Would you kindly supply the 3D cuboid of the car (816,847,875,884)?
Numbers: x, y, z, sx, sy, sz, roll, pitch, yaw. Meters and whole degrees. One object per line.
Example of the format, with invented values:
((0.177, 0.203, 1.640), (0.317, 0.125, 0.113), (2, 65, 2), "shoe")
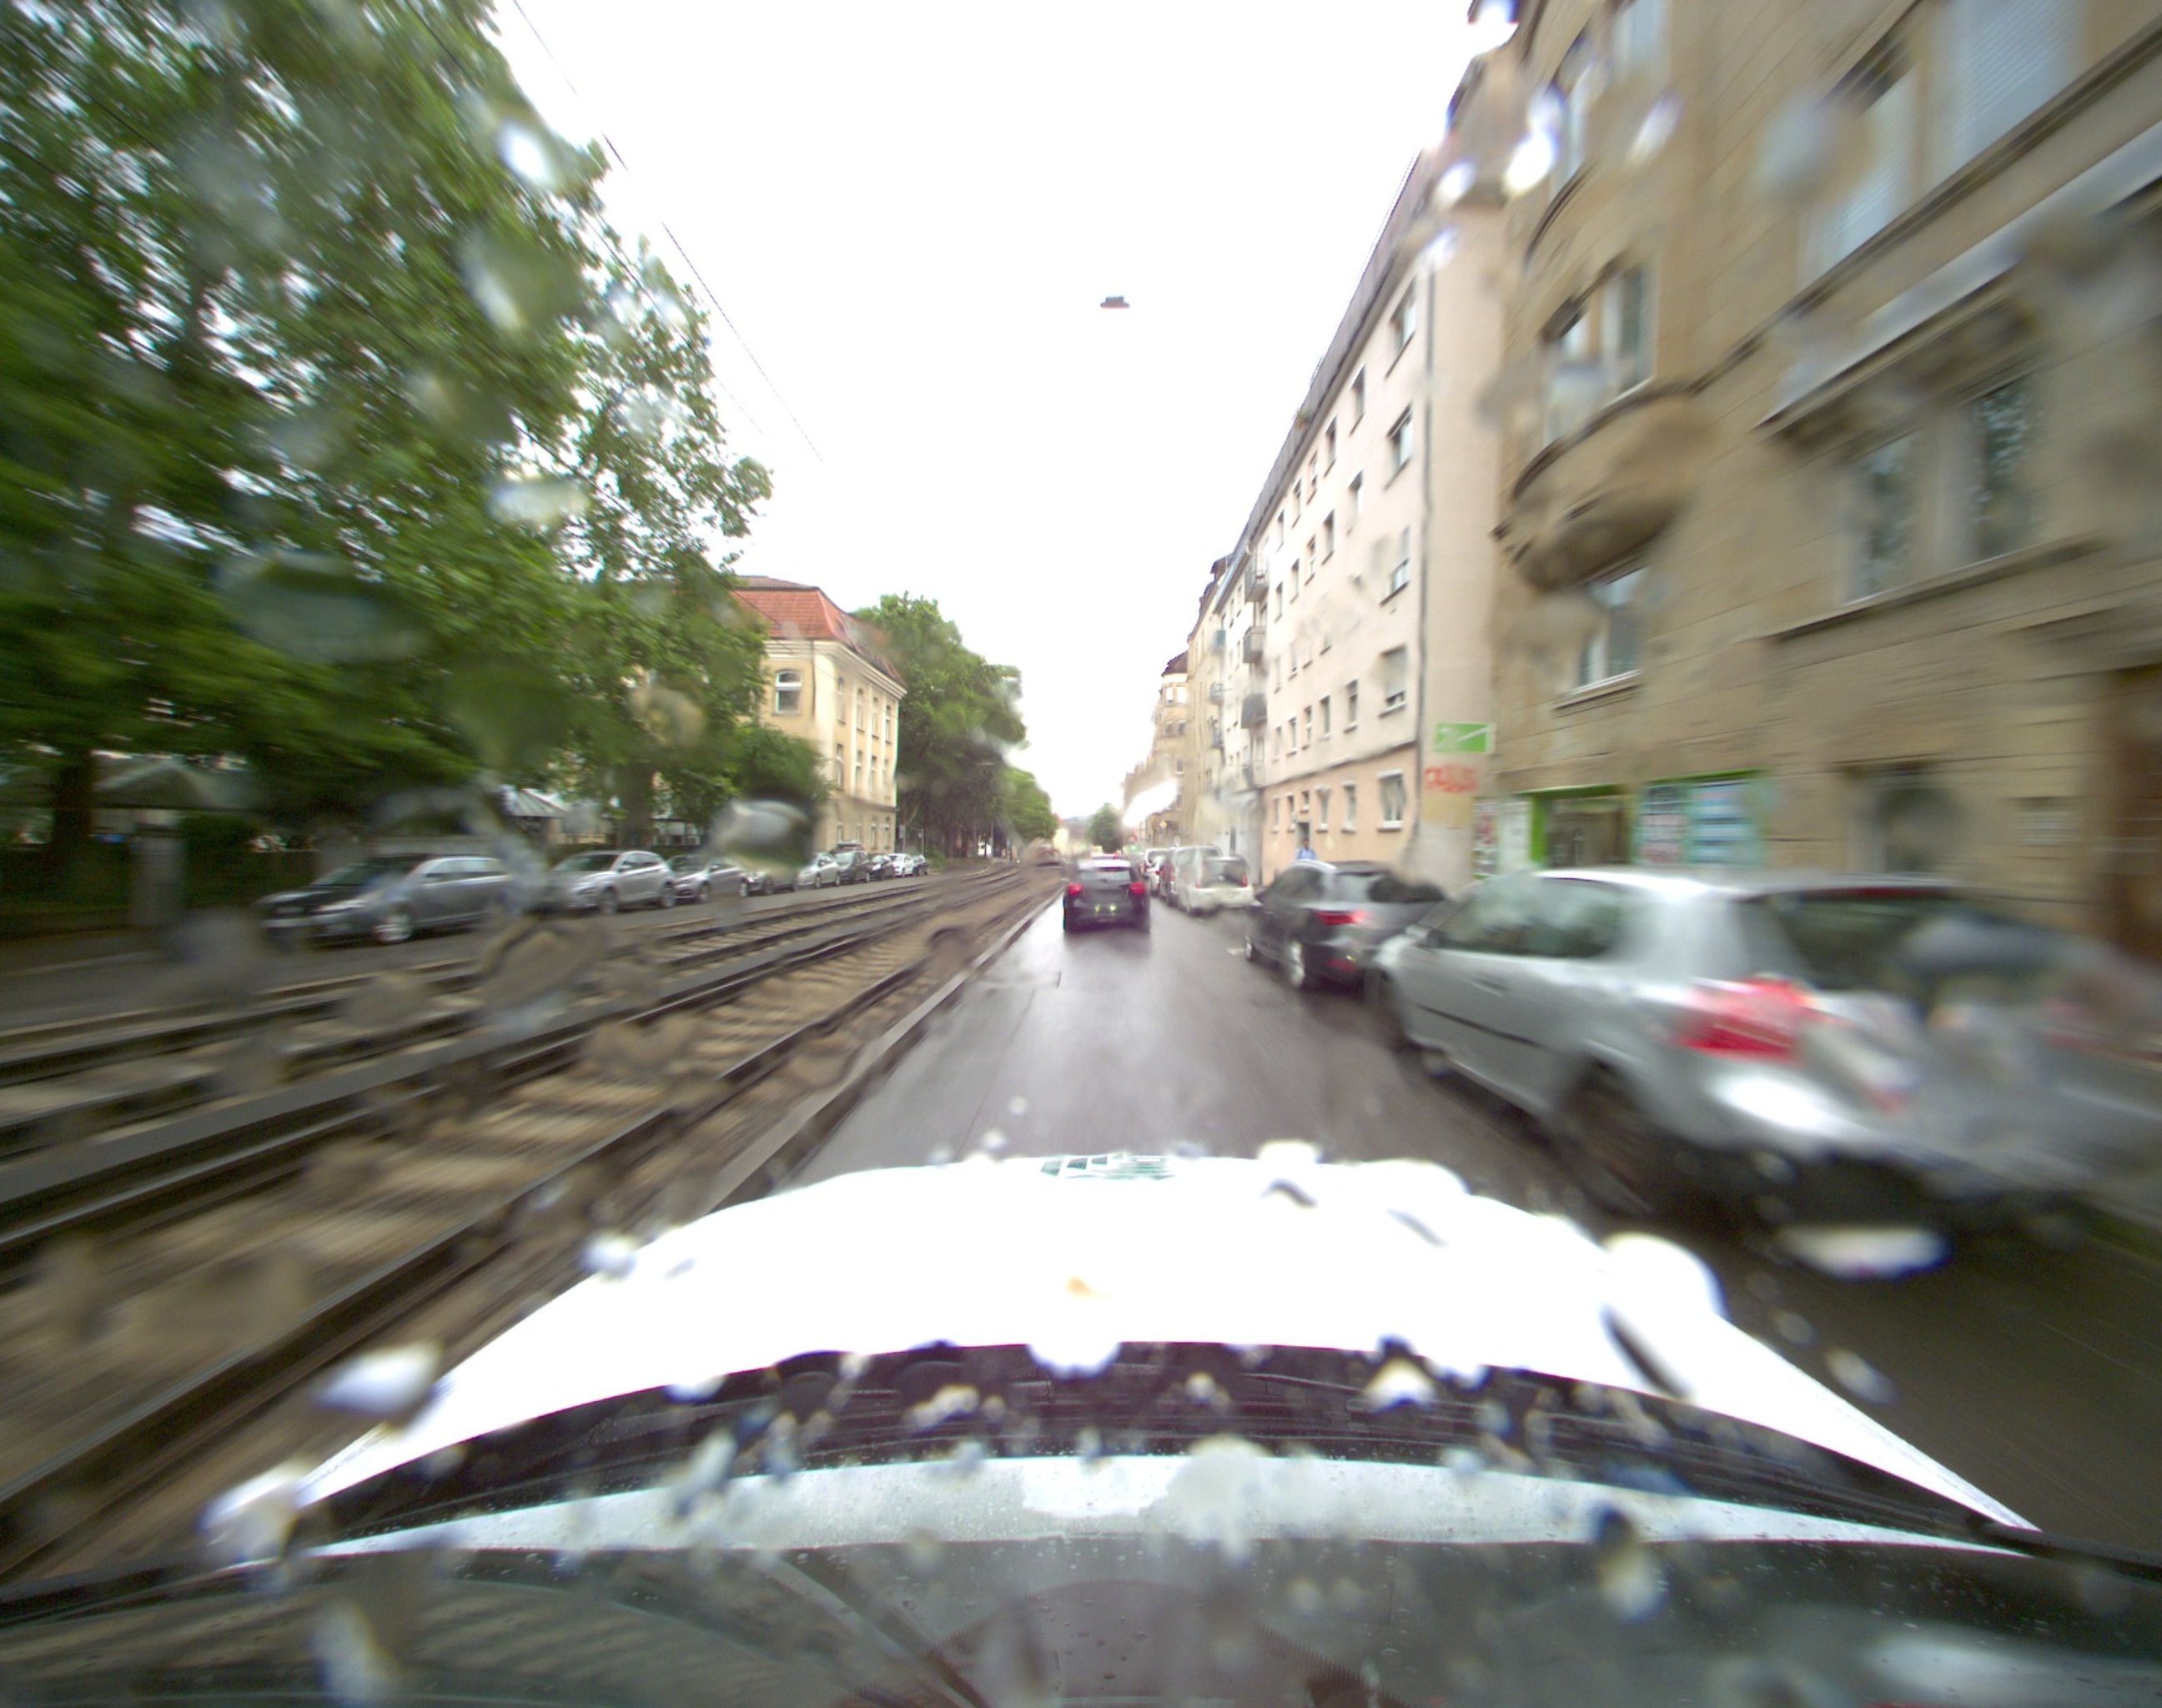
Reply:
((-11.255, 0.522, 39.177), (1.571, 1.643, 4.072), (-2, 0, 1), "car")

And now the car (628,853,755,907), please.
((-11.637, 0.718, 24.658), (1.748, 1.413, 4.154), (-2, 0, 1), "car")

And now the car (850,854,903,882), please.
((-11.217, 0.722, 44.907), (1.668, 1.413, 4.012), (-2, 0, 3), "car")

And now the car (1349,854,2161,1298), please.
((3.020, 0.734, 4.685), (1.662, 1.434, 3.956), (-1, 0, 0), "car")

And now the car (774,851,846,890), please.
((-11.389, 0.651, 34.491), (1.534, 1.505, 4.154), (-2, 0, 1), "car")

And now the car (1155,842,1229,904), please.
((3.393, 0.539, 25.607), (1.784, 1.765, 4.212), (-1, 0, 1), "car")

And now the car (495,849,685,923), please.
((-11.652, 0.689, 19.754), (1.748, 1.536, 4.543), (-2, 0, 1), "car")

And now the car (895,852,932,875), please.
((-11.090, 0.585, 54.116), (1.608, 1.429, 3.853), (-1, 1, 1), "car")

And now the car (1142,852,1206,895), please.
((3.411, 0.661, 30.595), (1.865, 1.455, 4.903), (0, 0, 0), "car")

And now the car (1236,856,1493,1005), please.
((3.161, 0.745, 10.065), (1.664, 1.410, 4.311), (-1, 0, 0), "car")

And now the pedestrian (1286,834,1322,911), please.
((5.256, 0.424, 19.220), (0.605, 1.763, 0.688), (-2, 0, 0), "pedestrian")

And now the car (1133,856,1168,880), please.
((4.093, 0.784, 48.481), (1.711, 1.347, 4.462), (1, 0, 1), "car")

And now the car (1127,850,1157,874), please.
((4.402, 0.561, 59.148), (1.761, 1.668, 4.330), (1, 0, -1), "car")

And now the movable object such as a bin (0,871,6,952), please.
((-15.355, 0.800, 10.965), (0.714, 1.120, 0.774), (0, 0, 3), "movable object such as a bin")

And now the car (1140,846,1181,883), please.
((3.910, 0.476, 40.427), (1.821, 1.750, 4.470), (0, 0, 3), "car")

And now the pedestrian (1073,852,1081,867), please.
((-0.466, 0.643, 92.193), (0.803, 1.633, 0.892), (-2, 0, 2), "pedestrian")

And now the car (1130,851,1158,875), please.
((4.114, 0.588, 53.601), (1.687, 1.529, 4.002), (0, 0, 2), "car")

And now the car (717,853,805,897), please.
((-11.521, 0.704, 29.563), (1.534, 1.413, 3.953), (-2, 0, 1), "car")

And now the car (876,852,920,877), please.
((-11.040, 0.625, 49.359), (1.494, 1.391, 3.990), (-2, 0, 3), "car")

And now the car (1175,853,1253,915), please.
((3.389, 0.708, 21.282), (1.564, 1.462, 3.601), (-1, 0, 2), "car")

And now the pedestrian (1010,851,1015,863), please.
((-9.648, 0.398, 114.754), (0.532, 1.754, 0.607), (2, 0, 2), "pedestrian")

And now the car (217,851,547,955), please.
((-11.836, 0.723, 14.329), (1.843, 1.464, 4.549), (-2, 0, 0), "car")

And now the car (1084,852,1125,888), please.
((1.101, 0.692, 37.726), (1.779, 1.581, 4.001), (0, 0, 1), "car")

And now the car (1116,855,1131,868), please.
((5.638, 0.975, 107.623), (1.820, 1.618, 3.865), (-2, 0, 2), "car")

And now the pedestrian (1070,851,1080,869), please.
((-0.689, 0.704, 96.767), (1.135, 1.998, 1.171), (-2, 0, -3), "pedestrian")

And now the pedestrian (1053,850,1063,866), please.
((-2.591, 0.431, 91.494), (1.050, 1.718, 0.904), (0, 0, 2), "pedestrian")

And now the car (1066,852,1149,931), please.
((0.545, 0.721, 17.412), (1.575, 1.505, 3.575), (0, 0, 1), "car")
